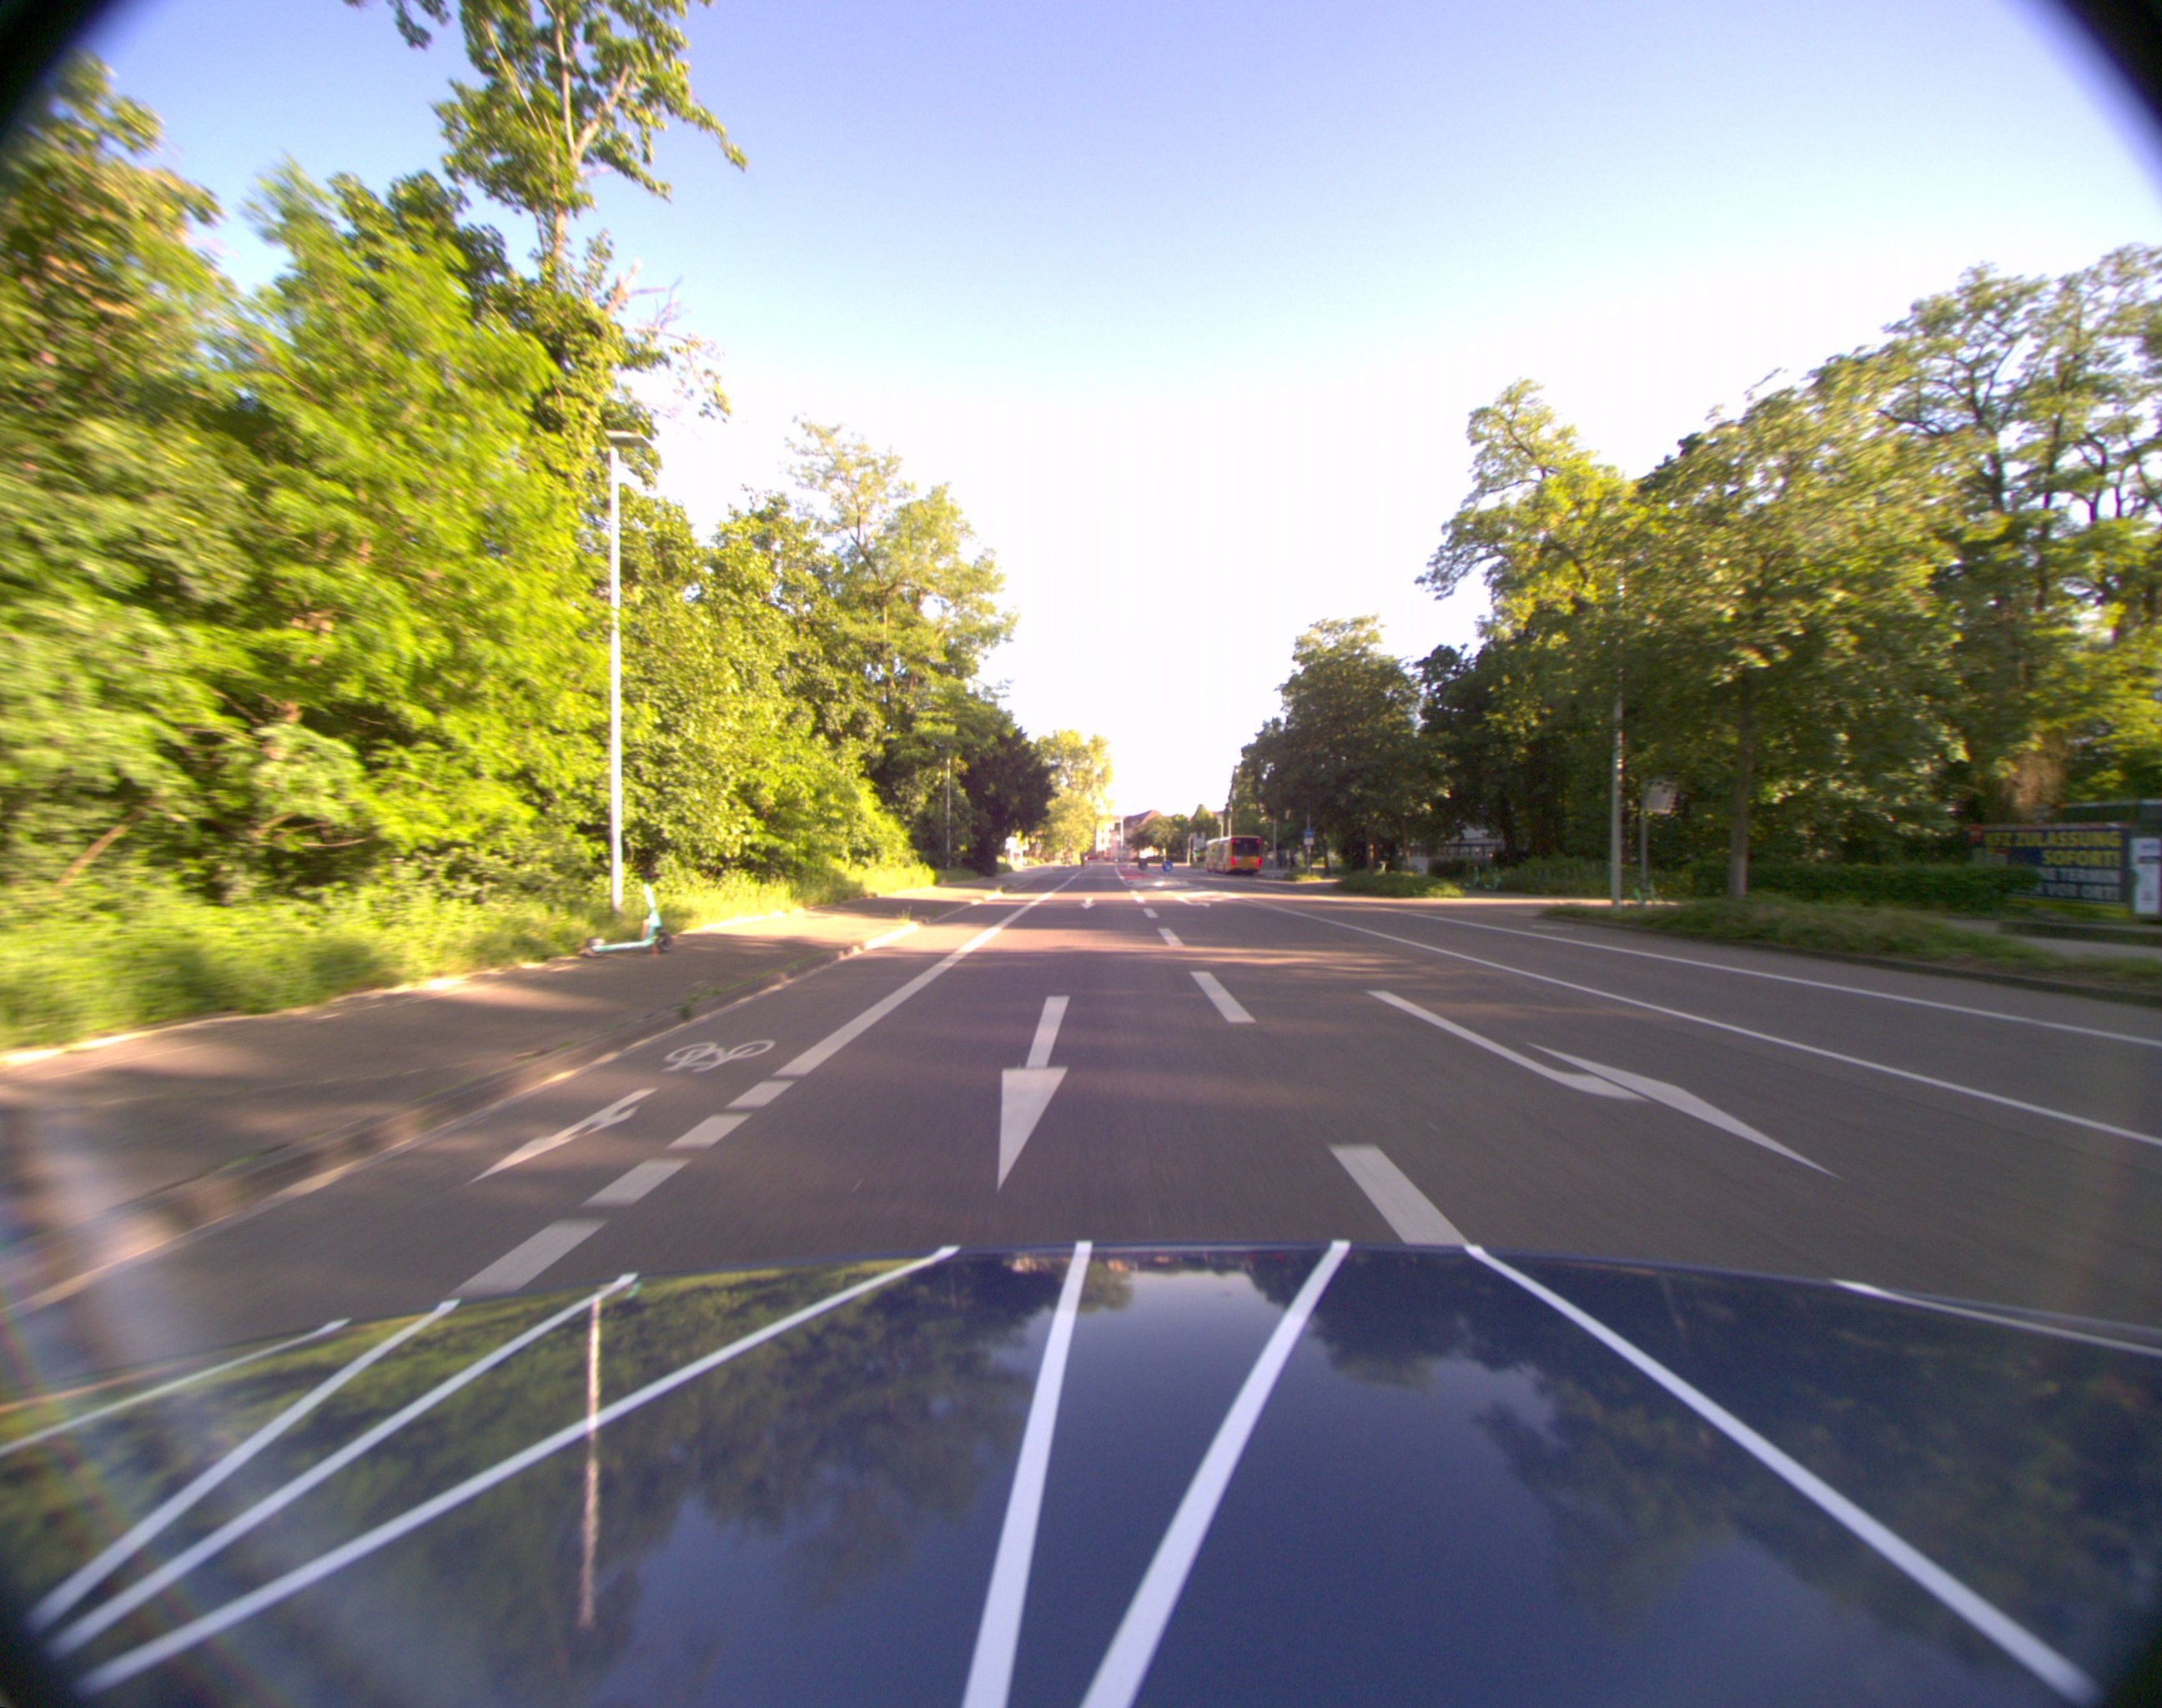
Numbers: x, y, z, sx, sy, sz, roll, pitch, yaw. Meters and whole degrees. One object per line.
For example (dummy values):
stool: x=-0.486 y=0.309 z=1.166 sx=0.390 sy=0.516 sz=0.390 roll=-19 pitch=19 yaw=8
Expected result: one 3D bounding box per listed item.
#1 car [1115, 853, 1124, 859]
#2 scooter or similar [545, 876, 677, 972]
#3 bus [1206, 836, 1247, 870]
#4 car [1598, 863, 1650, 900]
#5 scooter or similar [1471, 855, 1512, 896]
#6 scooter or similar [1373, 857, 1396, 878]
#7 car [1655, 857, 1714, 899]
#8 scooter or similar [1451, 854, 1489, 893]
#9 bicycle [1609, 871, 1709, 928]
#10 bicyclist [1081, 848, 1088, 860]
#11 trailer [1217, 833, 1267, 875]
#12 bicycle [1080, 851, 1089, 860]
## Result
car: x=8.442 y=0.403 z=168.234 sx=1.722 sy=1.409 sz=4.526 roll=0 pitch=0 yaw=0
scooter or similar: x=-6.726 y=0.959 z=10.920 sx=1.544 sy=1.243 sz=0.533 roll=0 pitch=1 yaw=-43
bus: x=14.442 y=-0.112 z=76.116 sx=2.847 sy=3.178 sz=8.600 roll=1 pitch=0 yaw=2
car: x=23.170 y=1.113 z=32.504 sx=1.558 sy=1.392 sz=3.498 roll=3 pitch=2 yaw=32
scooter or similar: x=17.431 y=0.891 z=32.288 sx=0.829 sy=1.707 sz=1.741 roll=0 pitch=0 yaw=1
scooter or similar: x=19.352 y=0.880 z=48.432 sx=0.829 sy=1.303 sz=1.571 roll=0 pitch=0 yaw=1
car: x=25.354 y=0.978 z=32.014 sx=1.558 sy=1.641 sz=3.498 roll=1 pitch=0 yaw=32
scooter or similar: x=17.518 y=0.873 z=34.230 sx=0.829 sy=1.707 sz=1.741 roll=0 pitch=0 yaw=1
bicycle: x=14.032 y=1.071 z=18.525 sx=0.656 sy=1.243 sz=2.158 roll=0 pitch=0 yaw=-4
bicyclist: x=0.400 y=0.042 z=95.821 sx=0.694 sy=1.482 sz=0.801 roll=1 pitch=1 yaw=12
trailer: x=14.057 y=-0.017 z=67.160 sx=2.861 sy=3.336 sz=9.363 roll=-2 pitch=0 yaw=3
bicycle: x=0.394 y=0.234 z=95.823 sx=0.694 sy=1.089 sz=2.138 roll=1 pitch=0 yaw=12
